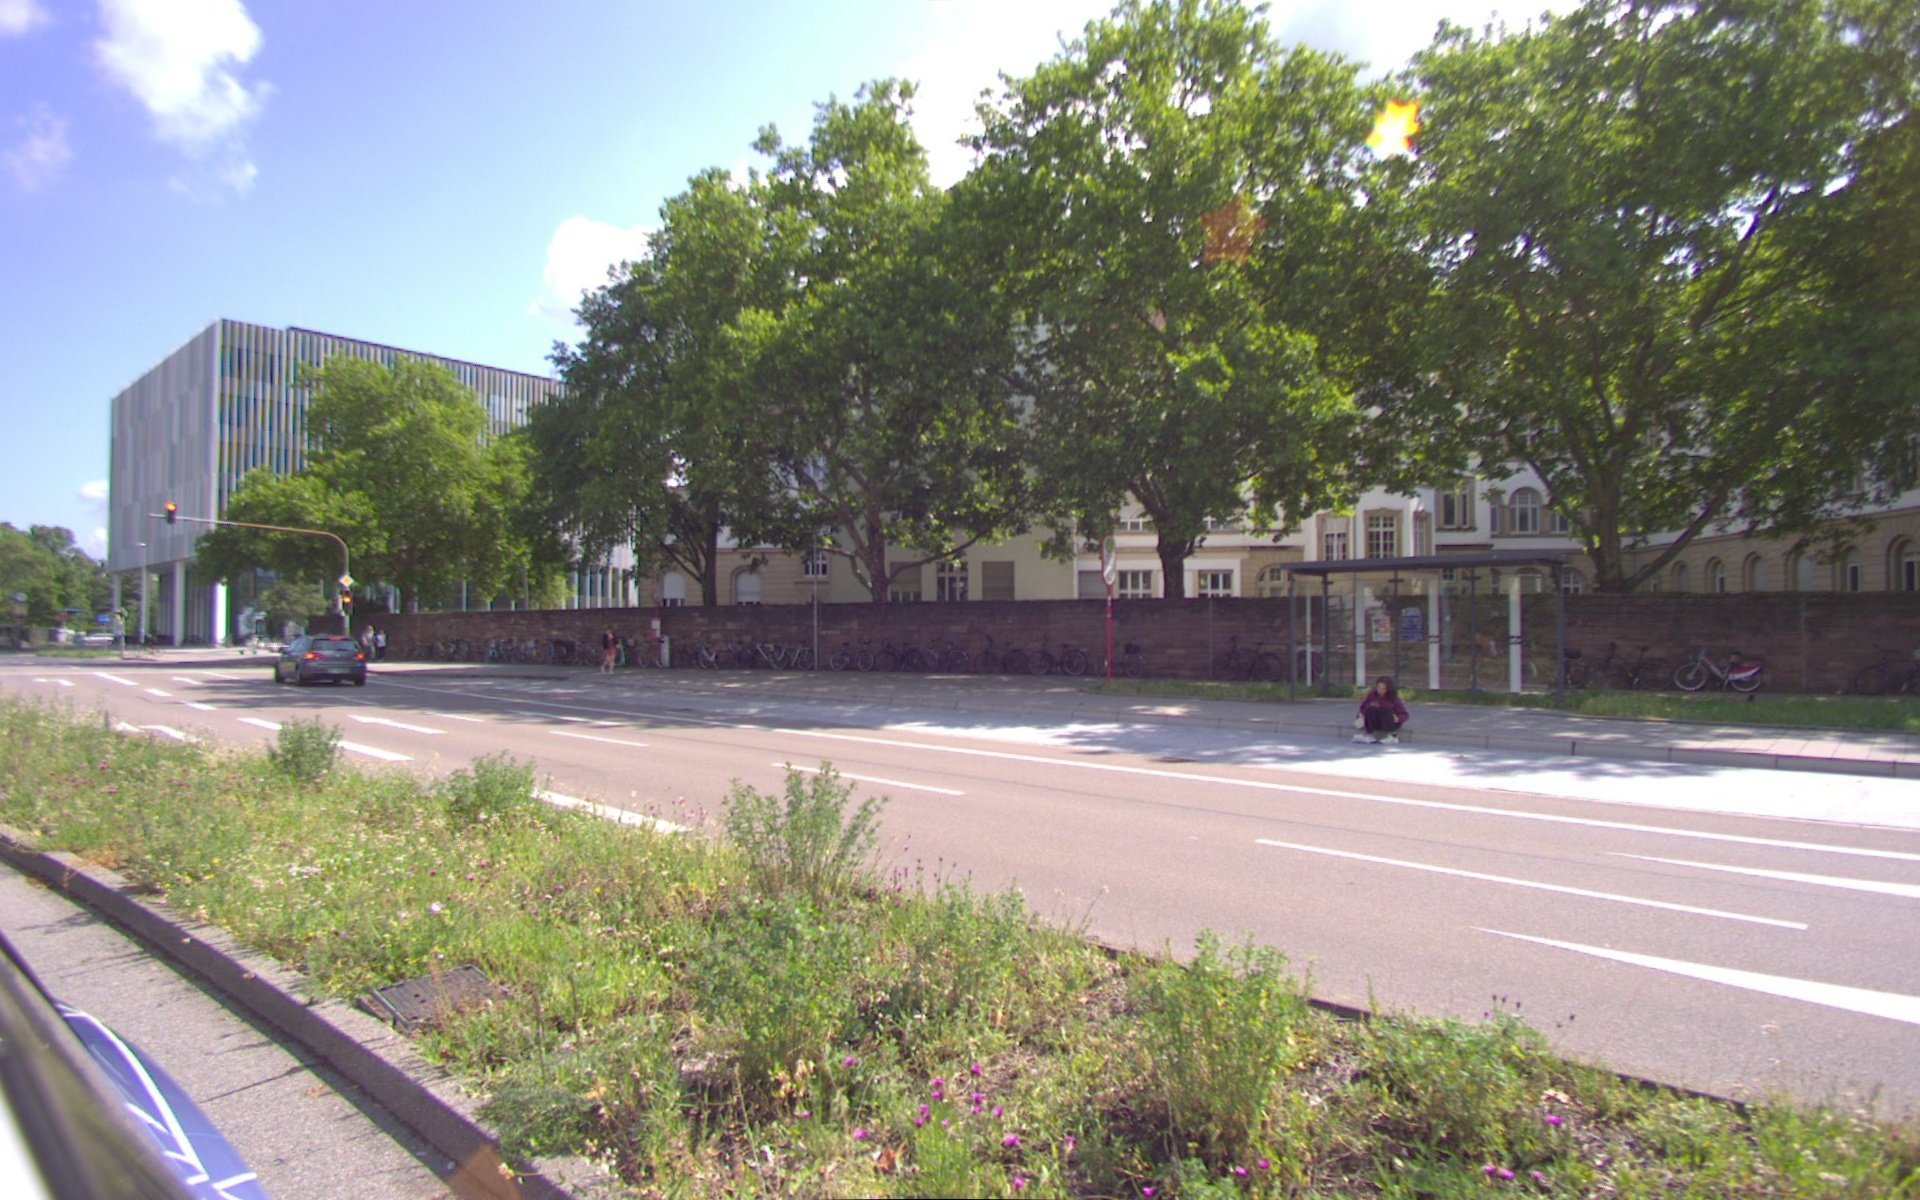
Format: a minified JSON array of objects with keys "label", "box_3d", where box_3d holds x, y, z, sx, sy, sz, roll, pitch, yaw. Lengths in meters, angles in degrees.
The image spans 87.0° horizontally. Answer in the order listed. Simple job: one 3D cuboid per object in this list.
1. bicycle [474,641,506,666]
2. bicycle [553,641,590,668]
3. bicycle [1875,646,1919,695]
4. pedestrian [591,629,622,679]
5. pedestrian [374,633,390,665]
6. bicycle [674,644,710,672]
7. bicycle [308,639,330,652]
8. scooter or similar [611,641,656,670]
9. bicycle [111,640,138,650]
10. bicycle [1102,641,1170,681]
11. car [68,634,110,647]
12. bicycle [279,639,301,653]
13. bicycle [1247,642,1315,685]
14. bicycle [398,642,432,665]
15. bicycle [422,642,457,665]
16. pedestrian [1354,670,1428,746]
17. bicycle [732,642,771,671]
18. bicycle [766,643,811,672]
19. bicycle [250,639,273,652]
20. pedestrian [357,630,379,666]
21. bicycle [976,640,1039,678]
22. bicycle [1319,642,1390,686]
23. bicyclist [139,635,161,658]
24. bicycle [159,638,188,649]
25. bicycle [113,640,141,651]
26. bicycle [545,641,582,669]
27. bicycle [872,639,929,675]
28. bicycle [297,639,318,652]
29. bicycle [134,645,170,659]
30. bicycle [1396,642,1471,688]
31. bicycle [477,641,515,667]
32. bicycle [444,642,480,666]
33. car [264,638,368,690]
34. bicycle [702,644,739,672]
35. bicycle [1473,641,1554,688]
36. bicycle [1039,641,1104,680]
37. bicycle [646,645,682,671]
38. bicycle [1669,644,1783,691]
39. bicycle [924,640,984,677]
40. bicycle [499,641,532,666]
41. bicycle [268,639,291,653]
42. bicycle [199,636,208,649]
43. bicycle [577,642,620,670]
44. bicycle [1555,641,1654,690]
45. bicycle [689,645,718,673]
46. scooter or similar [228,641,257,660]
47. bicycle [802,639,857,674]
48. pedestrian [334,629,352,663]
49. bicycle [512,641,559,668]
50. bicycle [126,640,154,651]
[{"label":"bicycle","box_3d":[-20.310,2.301,43.749,1.877,1.056,0.367,-2,-3,35]},{"label":"bicycle","box_3d":[-15.471,2.178,40.288,1.877,1.056,0.390,-2,-3,35]},{"label":"bicycle","box_3d":[20.564,1.495,21.571,1.447,1.019,0.468,-1,-2,24]},{"label":"pedestrian","box_3d":[-11.672,1.768,33.427,0.743,1.622,0.650,-2,-2,36]},{"label":"pedestrian","box_3d":[-27.809,2.345,48.691,0.616,1.551,0.471,-2,-3,39]},{"label":"bicycle","box_3d":[-9.610,2.073,36.254,1.396,0.962,0.364,-2,-2,29]},{"label":"bicycle","box_3d":[-54.450,3.880,85.983,0.711,1.105,2.222,0,-2,-9]},{"label":"scooter or similar","box_3d":[-12.271,2.090,38.005,1.877,1.056,0.575,-2,-2,35]},{"label":"bicycle","box_3d":[-90.843,4.915,110.071,0.721,1.098,2.191,-2,-3,36]},{"label":"bicycle","box_3d":[4.851,1.669,27.896,1.744,1.081,0.579,-1,-2,23]},{"label":"car","box_3d":[-112.284,5.203,130.526,1.646,1.699,3.943,-3,-3,43]},{"label":"bicycle","box_3d":[-57.075,3.909,86.226,0.711,1.105,2.222,0,-2,-9]},{"label":"bicycle","box_3d":[8.331,1.630,26.299,1.621,1.081,0.579,-1,-2,23]},{"label":"bicycle","box_3d":[-25.590,2.482,47.481,1.877,1.056,0.624,-2,-2,35]},{"label":"bicycle","box_3d":[-23.767,2.434,46.177,1.877,1.056,0.624,-2,-2,35]},{"label":"pedestrian","box_3d":[6.016,1.487,14.124,0.743,0.970,0.686,-2,-2,43]},{"label":"bicycle","box_3d":[-7.153,1.923,34.690,1.396,0.962,0.364,-2,-2,29]},{"label":"bicycle","box_3d":[-5.727,1.908,33.734,1.620,0.962,0.367,-2,-2,29]},{"label":"bicycle","box_3d":[-59.692,3.898,86.491,0.711,1.105,2.222,0,-2,-9]},{"label":"pedestrian","box_3d":[-28.093,2.275,48.022,0.730,1.664,0.634,-2,-3,39]},{"label":"bicycle","box_3d":[1.382,1.709,29.571,1.744,1.081,0.579,-1,-2,23]},{"label":"bicycle","box_3d":[9.965,1.614,25.574,1.621,1.081,0.579,-1,-2,23]},{"label":"bicyclist","box_3d":[-53.713,3.084,67.100,0.931,1.475,0.633,0,-2,-14]},{"label":"bicycle","box_3d":[-78.322,4.323,100.811,0.721,1.105,2.191,-2,-3,36]},{"label":"bicycle","box_3d":[-90.138,4.902,109.551,0.721,1.105,2.191,-2,-3,36]},{"label":"bicycle","box_3d":[-15.674,2.164,39.960,1.877,1.056,0.369,-2,-3,35]},{"label":"bicycle","box_3d":[-1.848,1.753,31.358,1.748,1.081,0.578,-2,-2,29]},{"label":"bicycle","box_3d":[-55.313,3.859,85.804,0.711,1.105,2.222,0,-2,-9]},{"label":"bicycle","box_3d":[-53.594,3.465,67.112,1.746,0.899,0.640,0,-2,-14]},{"label":"bicycle","box_3d":[11.603,1.588,24.832,1.621,1.081,0.579,-1,-2,23]},{"label":"bicycle","box_3d":[-19.463,2.249,42.437,1.877,1.056,0.586,-2,-2,35]},{"label":"bicycle","box_3d":[-22.068,2.380,44.831,1.877,1.056,0.559,-2,-2,35]},{"label":"car","box_3d":[-19.331,1.874,30.311,4.147,1.456,1.681,-2,-4,44]},{"label":"bicycle","box_3d":[-8.403,2.020,35.520,1.396,0.962,0.364,-2,-2,29]},{"label":"bicycle","box_3d":[13.220,1.532,24.220,1.621,1.081,0.579,-1,-2,23]},{"label":"bicycle","box_3d":[3.139,1.696,28.584,1.744,1.081,0.579,-1,-2,23]},{"label":"bicycle","box_3d":[-10.828,2.113,37.002,1.396,0.962,0.364,-2,-2,29]},{"label":"bicycle","box_3d":[17.213,1.508,22.790,1.952,1.019,0.468,-1,-2,24]},{"label":"bicycle","box_3d":[-0.196,1.740,30.482,1.747,1.081,0.578,-1,-2,28]},{"label":"bicycle","box_3d":[-18.718,2.250,42.589,1.877,1.056,0.367,-2,-3,35]},{"label":"bicycle","box_3d":[-57.873,3.913,86.107,0.711,1.105,2.222,0,-2,-9]},{"label":"bicycle","box_3d":[-64.139,3.584,85.787,0.539,1.105,1.637,1,-3,-37]},{"label":"bicycle","box_3d":[-13.982,2.162,39.102,1.877,1.056,0.575,-2,-2,35]},{"label":"bicycle","box_3d":[14.920,1.509,23.489,1.861,1.081,0.578,-1,-2,28]},{"label":"bicycle","box_3d":[-8.869,2.030,34.975,0.361,0.962,1.628,1,-2,-37]},{"label":"scooter or similar","box_3d":[-46.026,3.237,64.936,0.499,1.166,1.494,-1,-2,16]},{"label":"bicycle","box_3d":[-4.221,1.821,32.690,1.748,1.081,0.578,-2,-2,29]},{"label":"pedestrian","box_3d":[-30.792,2.290,50.496,0.726,1.664,0.555,-2,-3,39]},{"label":"bicycle","box_3d":[-17.353,2.222,41.364,1.867,1.056,0.590,-1,-2,20]},{"label":"bicycle","box_3d":[-87.590,4.840,108.142,0.721,1.105,2.191,-2,-3,36]}]
